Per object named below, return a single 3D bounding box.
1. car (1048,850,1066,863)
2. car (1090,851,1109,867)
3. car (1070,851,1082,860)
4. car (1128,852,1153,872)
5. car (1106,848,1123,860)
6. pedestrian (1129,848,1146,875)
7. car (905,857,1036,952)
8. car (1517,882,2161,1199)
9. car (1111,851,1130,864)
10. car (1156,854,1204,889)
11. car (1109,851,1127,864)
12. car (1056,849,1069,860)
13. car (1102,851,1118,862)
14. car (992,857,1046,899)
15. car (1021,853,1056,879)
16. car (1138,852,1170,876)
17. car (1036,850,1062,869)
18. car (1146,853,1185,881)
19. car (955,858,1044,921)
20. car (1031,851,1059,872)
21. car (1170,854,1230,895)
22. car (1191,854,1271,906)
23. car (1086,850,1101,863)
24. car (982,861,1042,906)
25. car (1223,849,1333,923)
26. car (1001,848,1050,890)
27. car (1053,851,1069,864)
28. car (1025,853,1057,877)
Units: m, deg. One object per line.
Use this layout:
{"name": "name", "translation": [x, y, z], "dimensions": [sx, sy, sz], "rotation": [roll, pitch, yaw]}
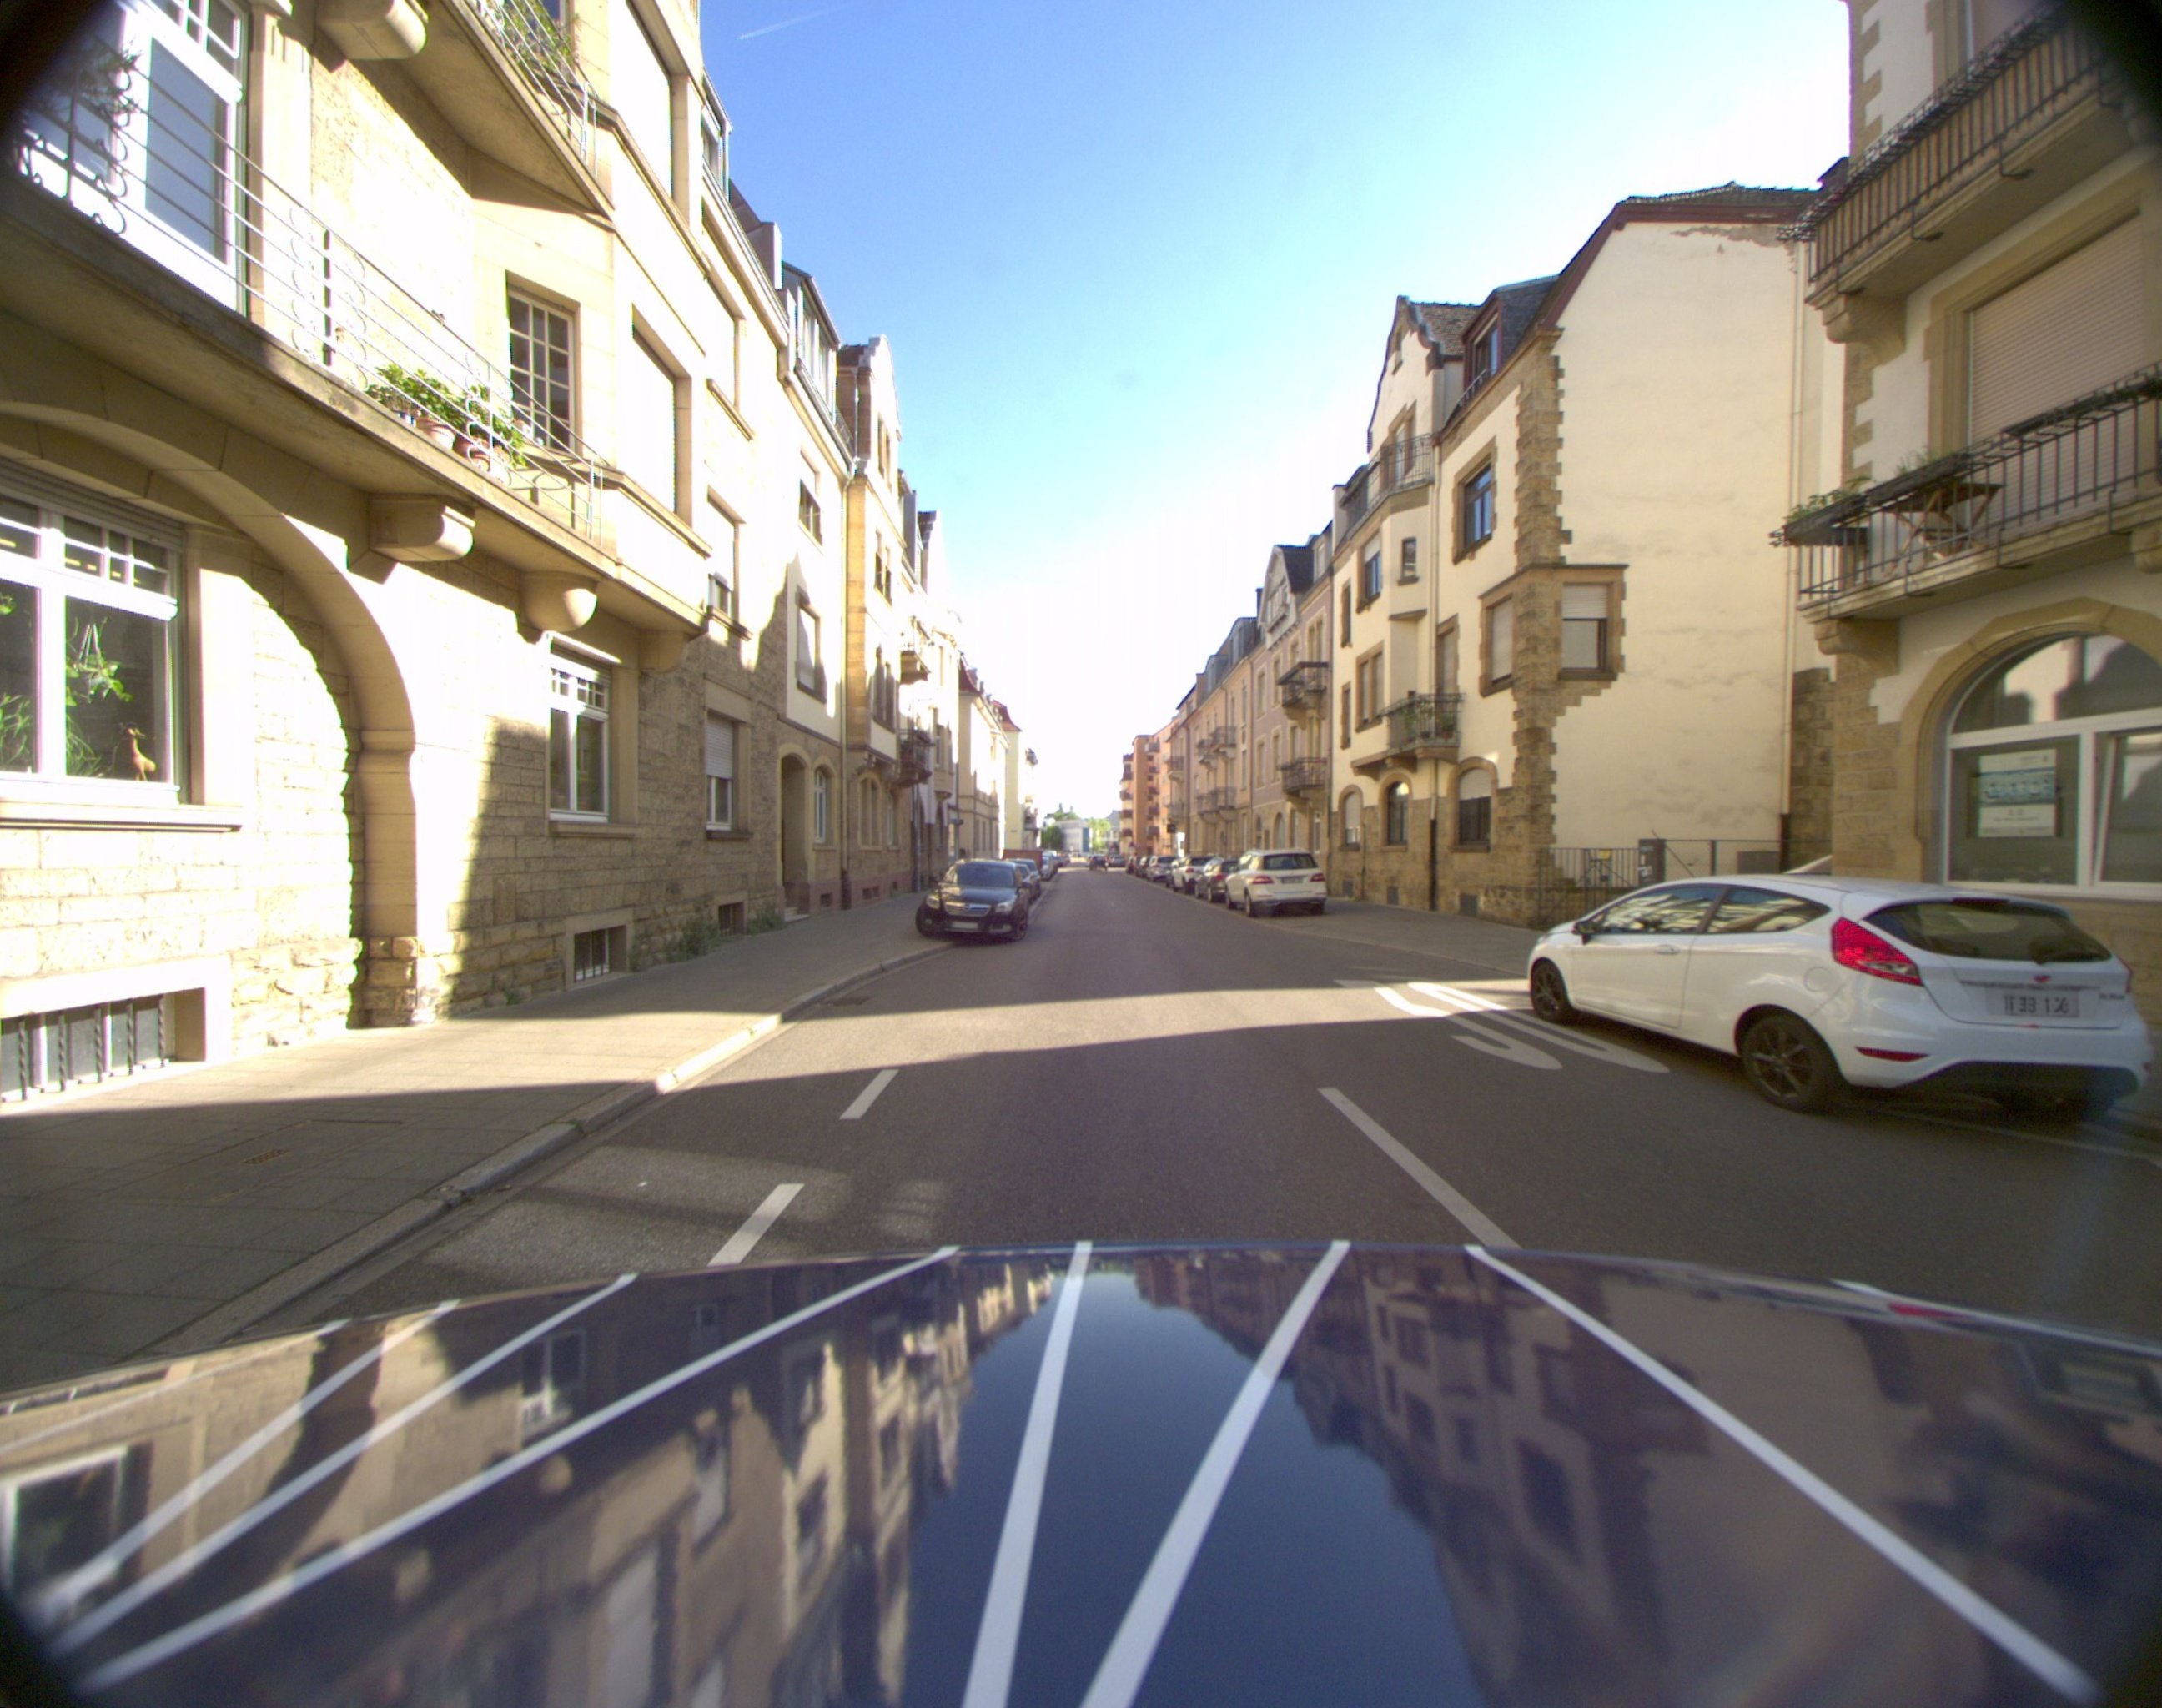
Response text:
{"name": "car", "translation": [-2.839, 0.276, 88.978], "dimensions": [2.005, 1.500, 4.320], "rotation": [1, 1, -1]}
{"name": "car", "translation": [1.714, 0.431, 71.609], "dimensions": [1.656, 1.449, 3.642], "rotation": [0, 1, -1]}
{"name": "car", "translation": [-0.828, 0.293, 133.397], "dimensions": [2.005, 1.500, 4.320], "rotation": [1, 1, -1]}
{"name": "car", "translation": [4.896, 0.649, 62.972], "dimensions": [1.793, 1.500, 4.320], "rotation": [-2, 1, 1]}
{"name": "car", "translation": [4.523, 0.013, 101.957], "dimensions": [2.005, 1.500, 4.320], "rotation": [1, 1, -1]}
{"name": "pedestrian", "translation": [4.276, 0.574, 57.721], "dimensions": [1.066, 2.002, 0.952], "rotation": [-2, 1, -4]}
{"name": "car", "translation": [-2.036, 0.887, 15.212], "dimensions": [2.024, 1.500, 4.111], "rotation": [2, 1, -1]}
{"name": "car", "translation": [5.112, 1.020, 5.684], "dimensions": [1.656, 1.449, 3.643], "rotation": [2, 0, 2]}
{"name": "car", "translation": [4.678, 0.418, 91.391], "dimensions": [2.005, 1.500, 4.320], "rotation": [1, 1, -1]}
{"name": "car", "translation": [4.858, 0.824, 37.805], "dimensions": [1.857, 1.491, 4.318], "rotation": [-2, 1, 1]}
{"name": "car", "translation": [4.628, 0.402, 96.205], "dimensions": [2.005, 1.500, 4.320], "rotation": [1, 1, -1]}
{"name": "car", "translation": [-2.934, 0.080, 123.335], "dimensions": [2.005, 1.722, 4.320], "rotation": [1, 1, -1]}
{"name": "car", "translation": [4.118, 0.298, 107.250], "dimensions": [2.005, 1.500, 4.320], "rotation": [1, 1, -1]}
{"name": "car", "translation": [-2.383, 0.897, 30.120], "dimensions": [1.824, 1.415, 4.320], "rotation": [1, 1, -1]}
{"name": "car", "translation": [-2.650, 0.724, 47.867], "dimensions": [2.005, 1.500, 4.320], "rotation": [1, 1, -1]}
{"name": "car", "translation": [4.995, 0.676, 52.350], "dimensions": [1.809, 1.500, 4.003], "rotation": [-2, 1, 1]}
{"name": "car", "translation": [-2.668, 0.460, 64.498], "dimensions": [2.005, 1.500, 4.320], "rotation": [1, 1, -1]}
{"name": "car", "translation": [5.024, 0.741, 45.831], "dimensions": [1.890, 1.500, 4.320], "rotation": [-2, 1, 1]}
{"name": "car", "translation": [-2.096, 0.880, 20.799], "dimensions": [2.005, 1.499, 4.321], "rotation": [1, 0, -1]}
{"name": "car", "translation": [-2.741, 0.543, 58.665], "dimensions": [2.005, 1.500, 4.320], "rotation": [1, 1, -1]}
{"name": "car", "translation": [4.986, 0.801, 32.365], "dimensions": [1.890, 1.500, 4.320], "rotation": [-2, 1, 1]}
{"name": "car", "translation": [5.124, 0.827, 26.544], "dimensions": [1.890, 1.500, 4.320], "rotation": [-4, 1, 1]}
{"name": "car", "translation": [1.472, 0.296, 88.145], "dimensions": [1.702, 1.474, 3.535], "rotation": [1, 0, 2]}
{"name": "car", "translation": [-2.232, 0.932, 25.377], "dimensions": [1.661, 1.272, 3.729], "rotation": [1, 1, -1]}
{"name": "car", "translation": [5.196, 0.758, 20.647], "dimensions": [1.890, 1.717, 4.211], "rotation": [-2, 1, 1]}
{"name": "car", "translation": [-2.557, 0.657, 35.809], "dimensions": [2.005, 1.828, 4.320], "rotation": [1, 1, -1]}
{"name": "car", "translation": [-2.577, 0.441, 99.952], "dimensions": [2.005, 1.500, 4.320], "rotation": [1, 1, -1]}
{"name": "car", "translation": [-2.745, 0.744, 52.640], "dimensions": [2.005, 1.500, 4.320], "rotation": [1, 1, -1]}
